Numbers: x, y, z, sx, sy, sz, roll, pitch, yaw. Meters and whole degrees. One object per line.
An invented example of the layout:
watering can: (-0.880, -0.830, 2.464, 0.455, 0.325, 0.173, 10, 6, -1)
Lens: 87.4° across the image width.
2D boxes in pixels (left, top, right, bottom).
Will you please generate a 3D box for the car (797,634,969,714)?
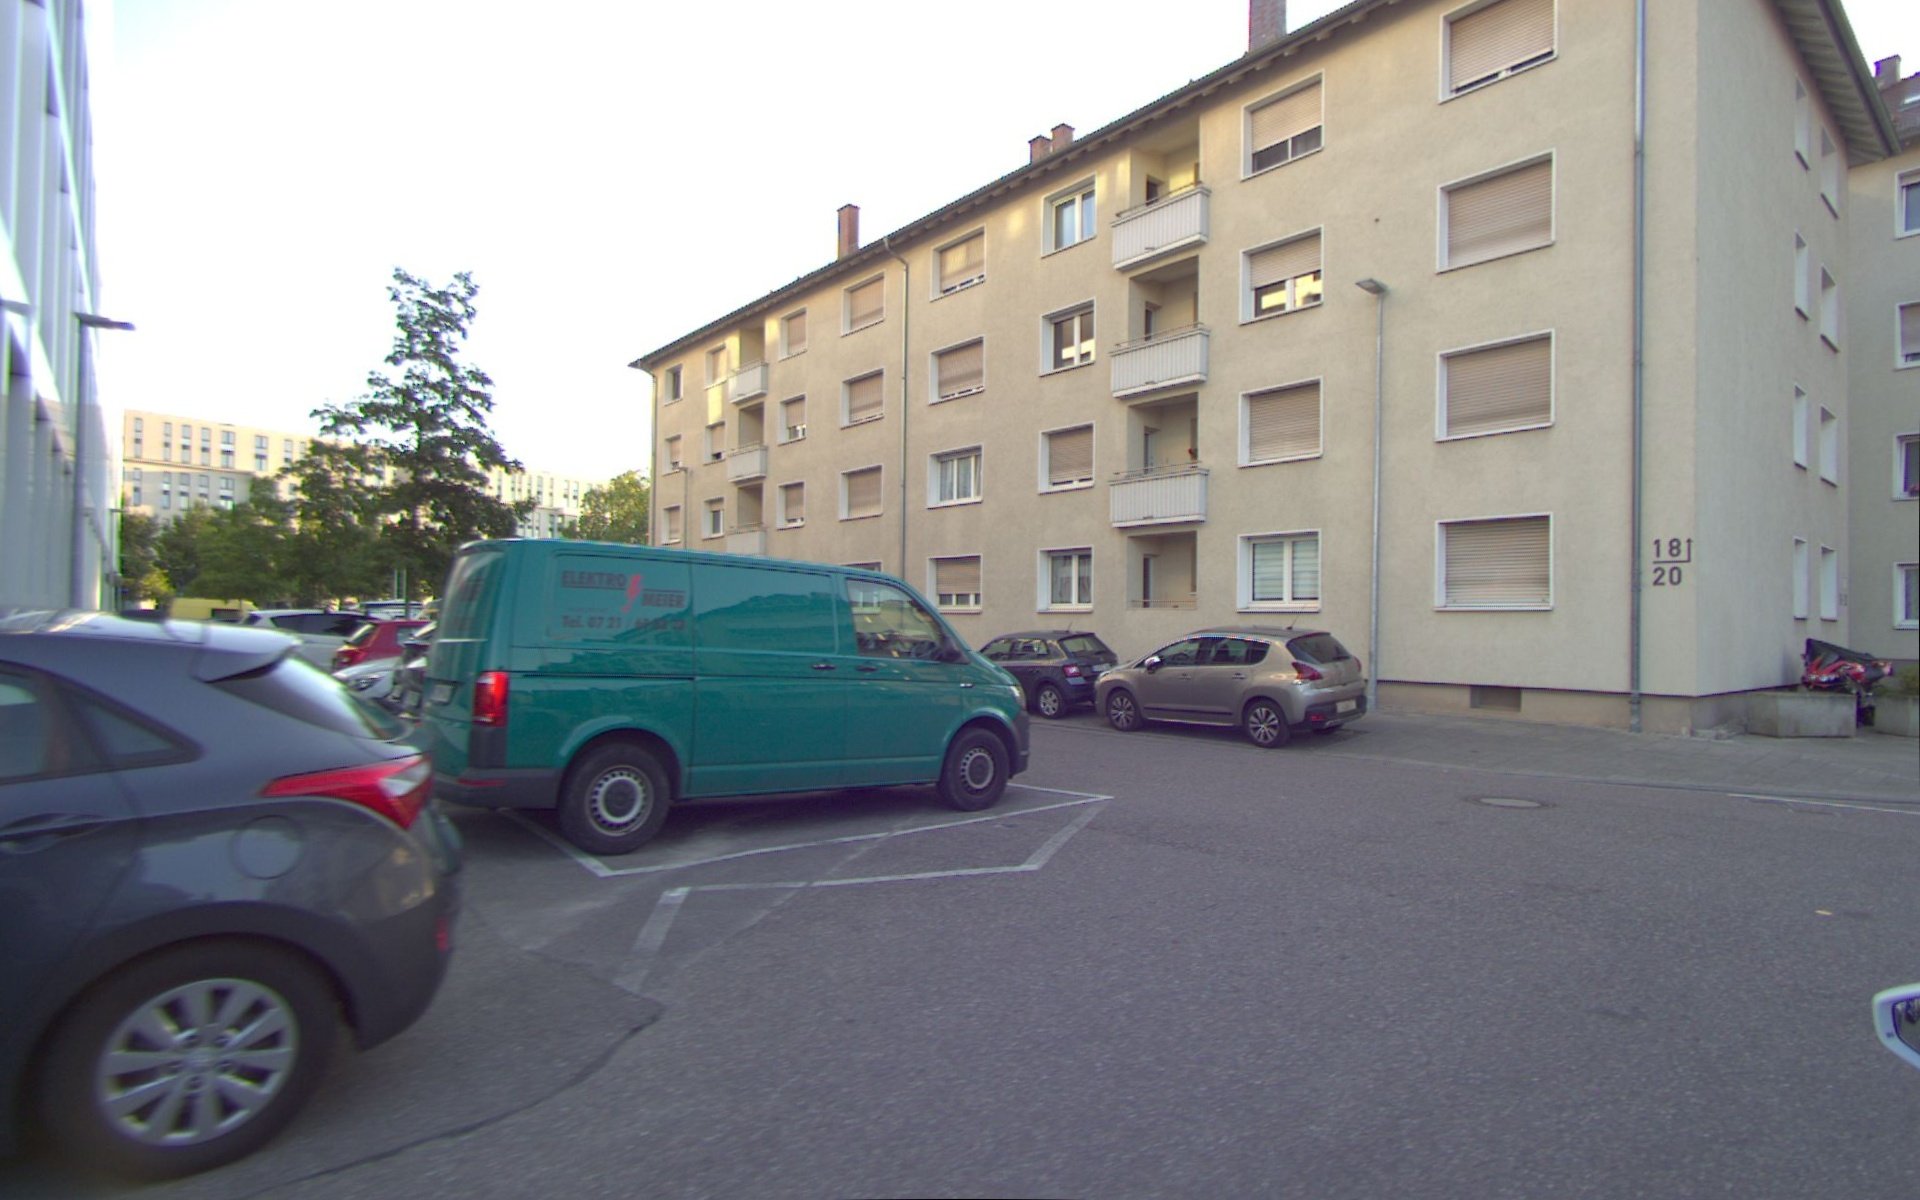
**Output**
car: (-1.792, 1.571, 22.441, 1.865, 1.504, 3.903, -4, 1, -40)

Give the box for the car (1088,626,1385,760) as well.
car: (4.085, 1.284, 15.301, 1.865, 1.639, 3.973, -4, 1, -40)

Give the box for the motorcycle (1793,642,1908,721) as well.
motorcycle: (15.195, 1.367, 17.124, 2.053, 1.281, 0.721, 1, -2, -26)

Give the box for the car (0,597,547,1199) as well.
car: (-3.480, 0.720, 2.388, 4.294, 1.498, 1.765, 2, -1, -39)

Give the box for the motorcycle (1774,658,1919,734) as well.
motorcycle: (13.643, 1.454, 15.411, 2.046, 1.093, 0.723, 1, -2, -15)

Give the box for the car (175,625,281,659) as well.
car: (-36.781, 2.123, 50.531, 4.189, 1.529, 1.716, 5, -4, -39)

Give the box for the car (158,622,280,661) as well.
car: (-32.655, 1.844, 44.307, 4.189, 1.529, 1.716, 5, -4, -39)

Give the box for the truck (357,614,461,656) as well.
truck: (-38.319, 2.390, 69.927, 5.952, 2.531, 2.311, -4, 1, -41)

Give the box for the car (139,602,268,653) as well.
car: (-41.865, 1.576, 55.691, 5.478, 2.568, 1.713, 5, -4, -43)

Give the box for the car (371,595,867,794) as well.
car: (-3.225, 0.897, 10.006, 4.295, 1.570, 1.765, 5, -4, -39)

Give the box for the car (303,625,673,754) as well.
car: (-6.215, 1.169, 13.479, 4.165, 1.475, 1.716, 5, -4, -39)

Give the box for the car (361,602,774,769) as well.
car: (-4.600, 1.012, 12.149, 4.295, 1.681, 1.716, 5, -4, -39)

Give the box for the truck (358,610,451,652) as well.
truck: (-43.690, 2.390, 79.118, 5.952, 2.884, 2.311, -4, 1, -41)

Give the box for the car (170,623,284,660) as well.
car: (-34.136, 1.933, 46.826, 4.189, 1.529, 1.716, 5, -4, -39)

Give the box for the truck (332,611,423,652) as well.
truck: (-47.508, 2.544, 82.012, 5.952, 2.884, 2.311, -4, 1, -41)

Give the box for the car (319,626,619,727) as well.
car: (-8.053, 1.270, 16.681, 4.165, 1.475, 1.716, 5, -4, -39)

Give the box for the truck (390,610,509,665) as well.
truck: (-30.858, 2.209, 60.876, 5.952, 2.884, 2.311, -4, 1, -41)

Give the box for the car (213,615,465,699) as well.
car: (-13.413, 1.275, 21.862, 4.428, 1.633, 1.716, 5, -4, -39)

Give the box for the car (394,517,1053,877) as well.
car: (-1.558, 0.657, 7.785, 4.651, 2.005, 1.783, 3, -3, -40)

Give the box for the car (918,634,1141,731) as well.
car: (1.233, 1.471, 19.114, 1.868, 1.520, 3.967, -4, 1, -44)

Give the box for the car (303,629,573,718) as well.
car: (-9.622, 1.367, 18.684, 4.165, 1.475, 1.716, 5, -4, -39)
